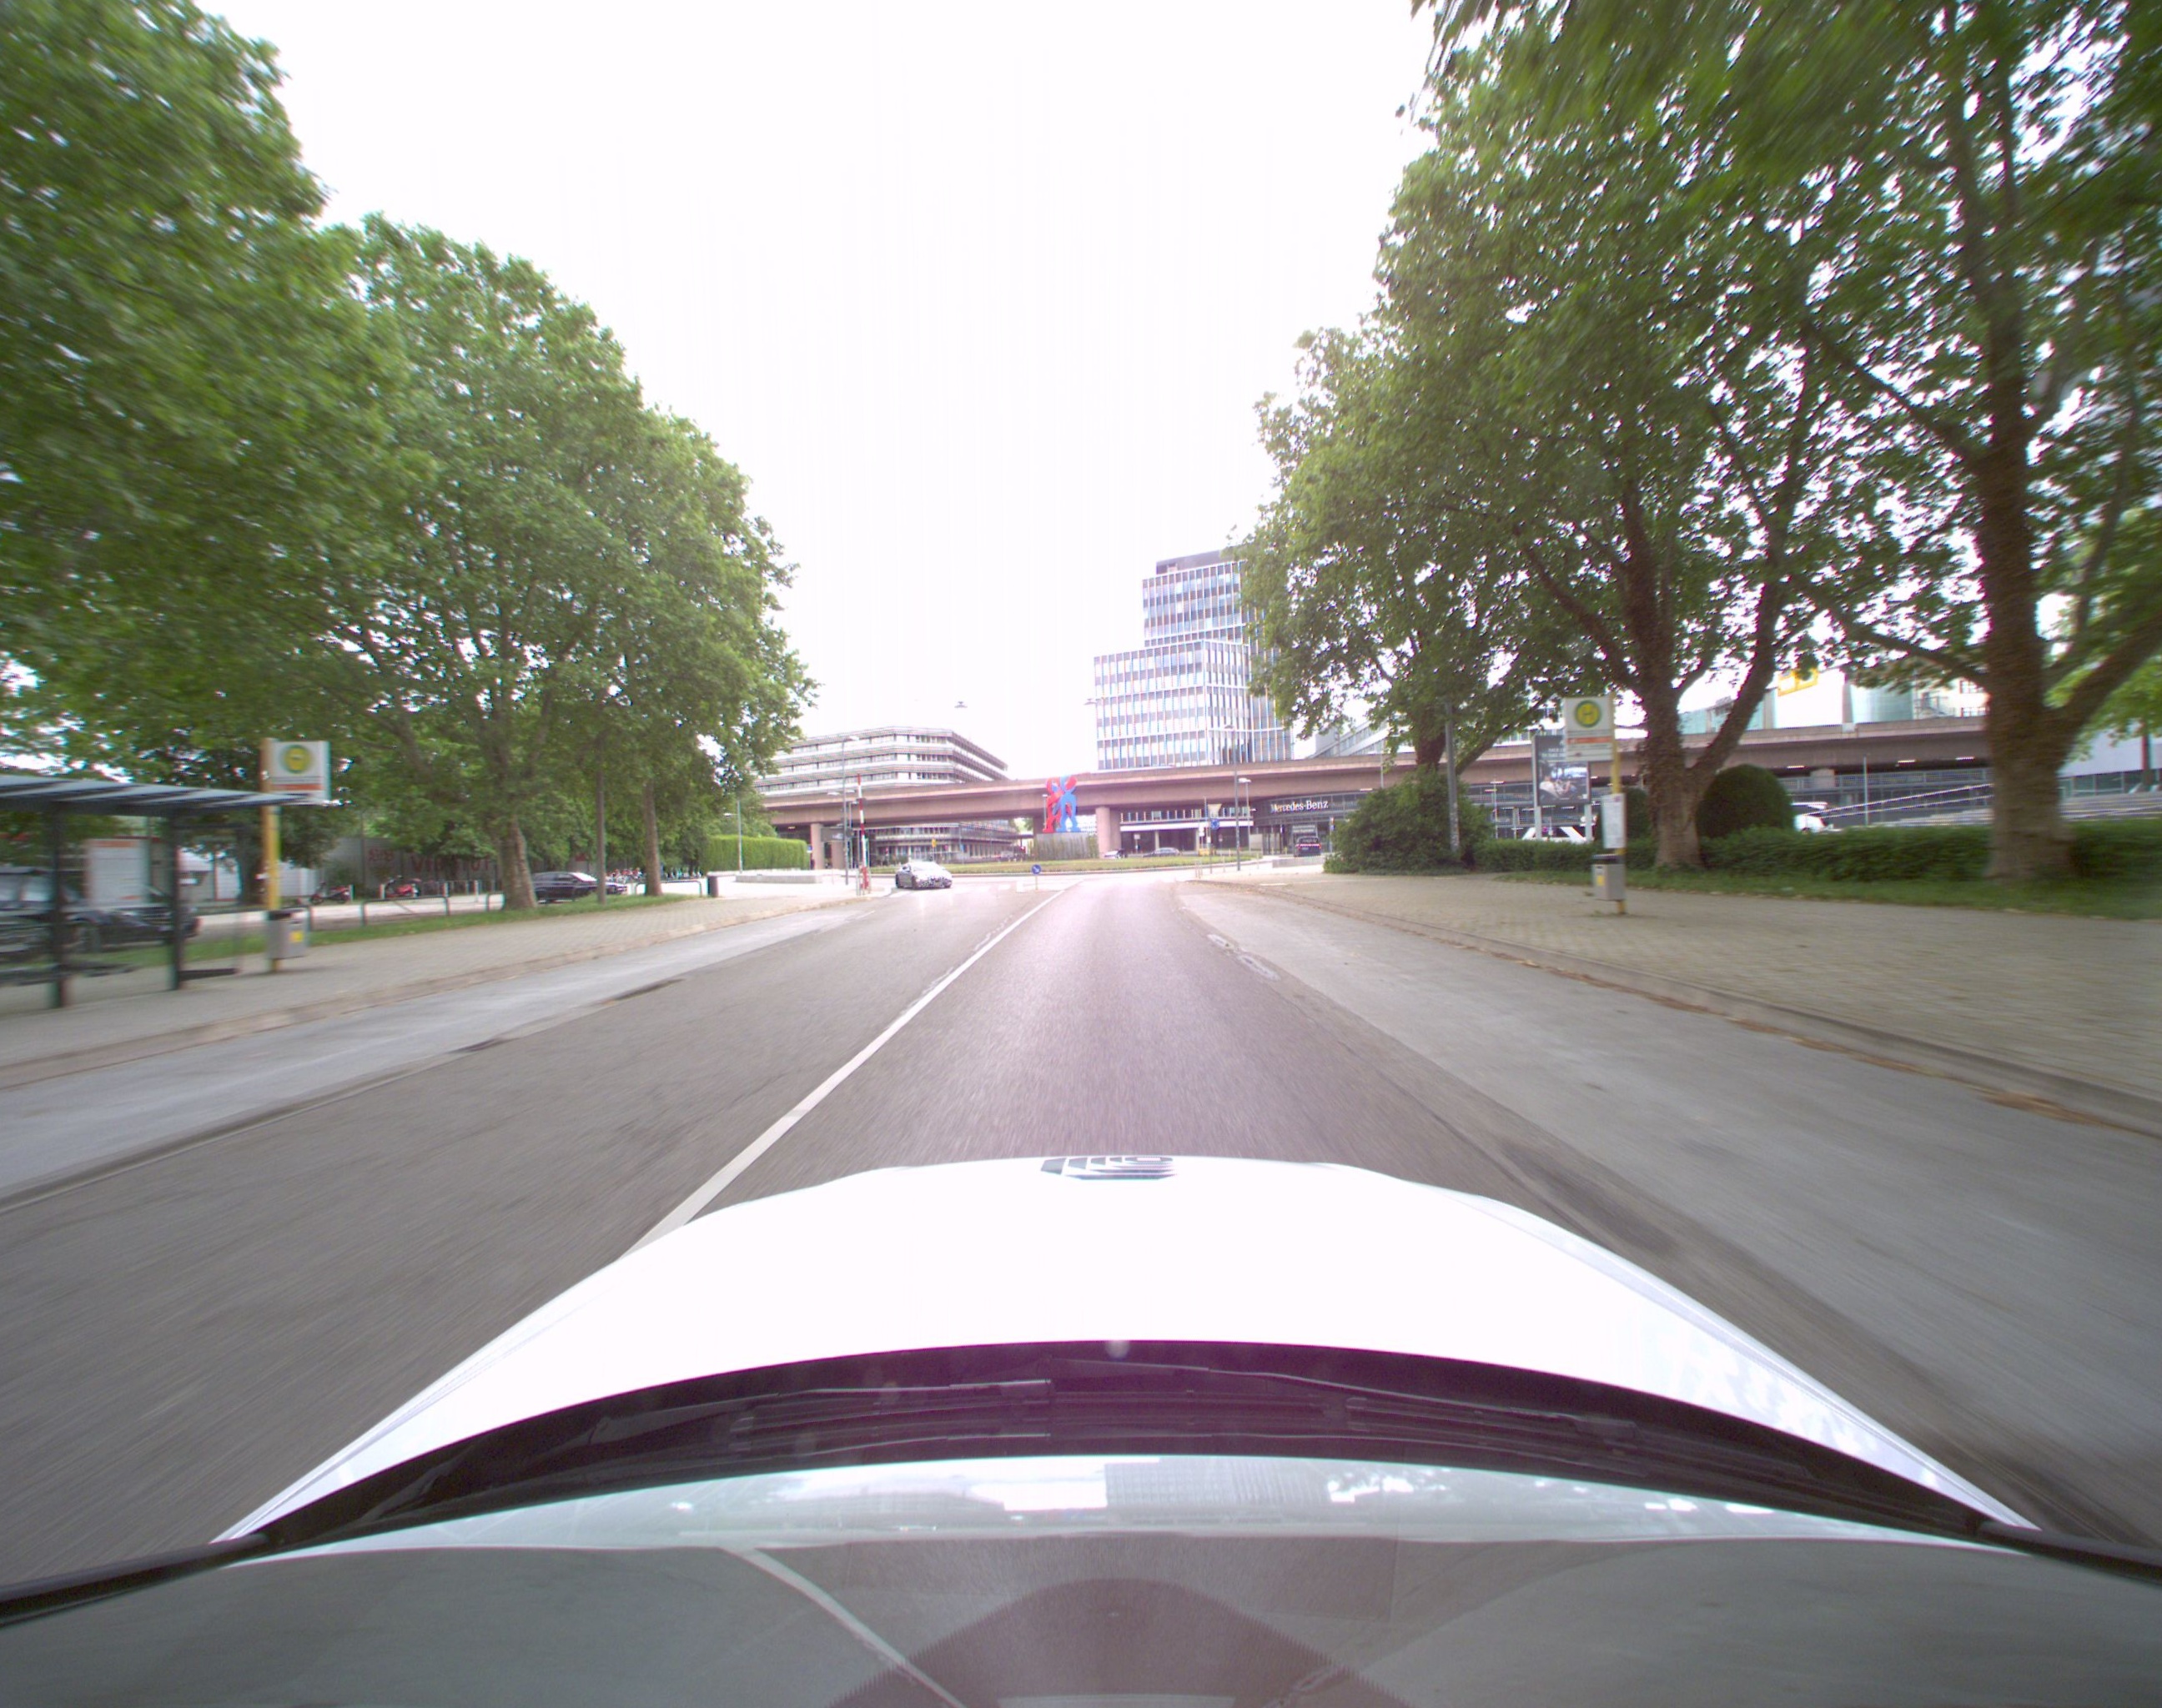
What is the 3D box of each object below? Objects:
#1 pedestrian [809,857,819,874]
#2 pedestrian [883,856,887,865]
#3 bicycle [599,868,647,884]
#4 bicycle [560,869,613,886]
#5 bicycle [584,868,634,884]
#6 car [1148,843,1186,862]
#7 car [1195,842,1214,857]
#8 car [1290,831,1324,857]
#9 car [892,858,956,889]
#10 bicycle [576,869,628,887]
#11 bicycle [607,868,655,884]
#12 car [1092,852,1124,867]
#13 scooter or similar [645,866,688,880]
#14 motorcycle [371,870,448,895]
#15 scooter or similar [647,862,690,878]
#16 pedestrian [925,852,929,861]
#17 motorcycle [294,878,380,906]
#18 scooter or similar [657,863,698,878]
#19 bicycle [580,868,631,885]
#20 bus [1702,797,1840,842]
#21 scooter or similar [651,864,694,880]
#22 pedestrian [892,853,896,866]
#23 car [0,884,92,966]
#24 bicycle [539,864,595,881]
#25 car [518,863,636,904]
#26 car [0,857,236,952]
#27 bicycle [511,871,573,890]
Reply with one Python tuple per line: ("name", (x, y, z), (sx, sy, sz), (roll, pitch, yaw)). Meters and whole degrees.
("pedestrian", (-32.105, 1.412, 98.051), (1.043, 2.013, 0.597), (-1, 0, -11))
("pedestrian", (-43.758, 1.537, 181.705), (0.779, 2.013, 0.665), (-1, 0, -23))
("bicycle", (-35.723, 1.694, 63.581), (3.187, 1.097, 0.769), (-1, 0, -16))
("bicycle", (-35.688, 1.703, 58.827), (3.188, 1.097, 0.769), (-2, 0, -16))
("bicycle", (-35.953, 1.640, 62.072), (3.187, 1.097, 0.769), (-1, 0, -16))
("car", (9.304, -0.192, 88.240), (3.691, 1.926, 1.930), (-2, 0, 18))
("car", (17.574, -0.690, 115.583), (1.977, 2.013, 4.019), (-2, 0, 18))
("car", (18.748, -0.839, 67.764), (2.261, 2.013, 4.798), (-2, 0, 11))
("car", (-8.480, 1.056, 43.721), (1.912, 1.453, 4.769), (-4, 1, -29))
("bicycle", (-35.227, 1.737, 59.940), (3.188, 1.097, 0.769), (-3, 0, -16))
("bicycle", (-35.784, 1.735, 64.792), (3.187, 1.097, 0.769), (-1, 0, -16))
("car", (3.306, 0.631, 98.269), (1.974, 1.772, 4.026), (-2, 0, 34))
("scooter or similar", (-35.234, 1.575, 69.286), (3.187, 1.097, 0.769), (-1, 0, -16))
("motorcycle", (-35.229, 1.481, 42.757), (3.641, 1.222, 0.774), (-2, 0, 6))
("scooter or similar", (-35.495, 1.342, 70.195), (3.187, 1.249, 0.769), (-1, 0, -16))
("pedestrian", (-34.222, 0.479, 181.053), (0.773, 2.013, 0.671), (-2, 0, 1))
("motorcycle", (-35.373, 1.790, 38.718), (3.641, 1.222, 0.774), (-2, 0, 6))
("scooter or similar", (-36.485, 1.456, 73.744), (3.187, 1.249, 0.769), (-1, 0, -16))
("bicycle", (-35.639, 1.682, 61.036), (3.187, 1.097, 0.769), (-1, 0, -16))
("bus", (65.915, -3.255, 77.949), (11.016, 3.934, 2.757), (-2, 0, -1))
("scooter or similar", (-35.732, 1.564, 71.287), (3.187, 1.249, 0.769), (-1, 0, -16))
("pedestrian", (-30.769, 0.930, 134.008), (0.588, 2.013, 0.597), (-1, 0, -11))
("car", (-23.143, 1.451, 16.143), (4.607, 1.567, 2.110), (-2, -1, 2))
("bicycle", (-35.774, 1.279, 56.702), (3.186, 1.097, 0.769), (-1, 0, -15))
("car", (-22.962, 1.314, 37.272), (3.985, 1.605, 2.226), (-3, 0, -9))
("car", (-23.283, 1.144, 19.107), (4.598, 2.025, 2.264), (-2, 0, 2))
("bicycle", (-34.809, 1.711, 52.635), (3.186, 1.097, 0.769), (-1, 0, -15))
